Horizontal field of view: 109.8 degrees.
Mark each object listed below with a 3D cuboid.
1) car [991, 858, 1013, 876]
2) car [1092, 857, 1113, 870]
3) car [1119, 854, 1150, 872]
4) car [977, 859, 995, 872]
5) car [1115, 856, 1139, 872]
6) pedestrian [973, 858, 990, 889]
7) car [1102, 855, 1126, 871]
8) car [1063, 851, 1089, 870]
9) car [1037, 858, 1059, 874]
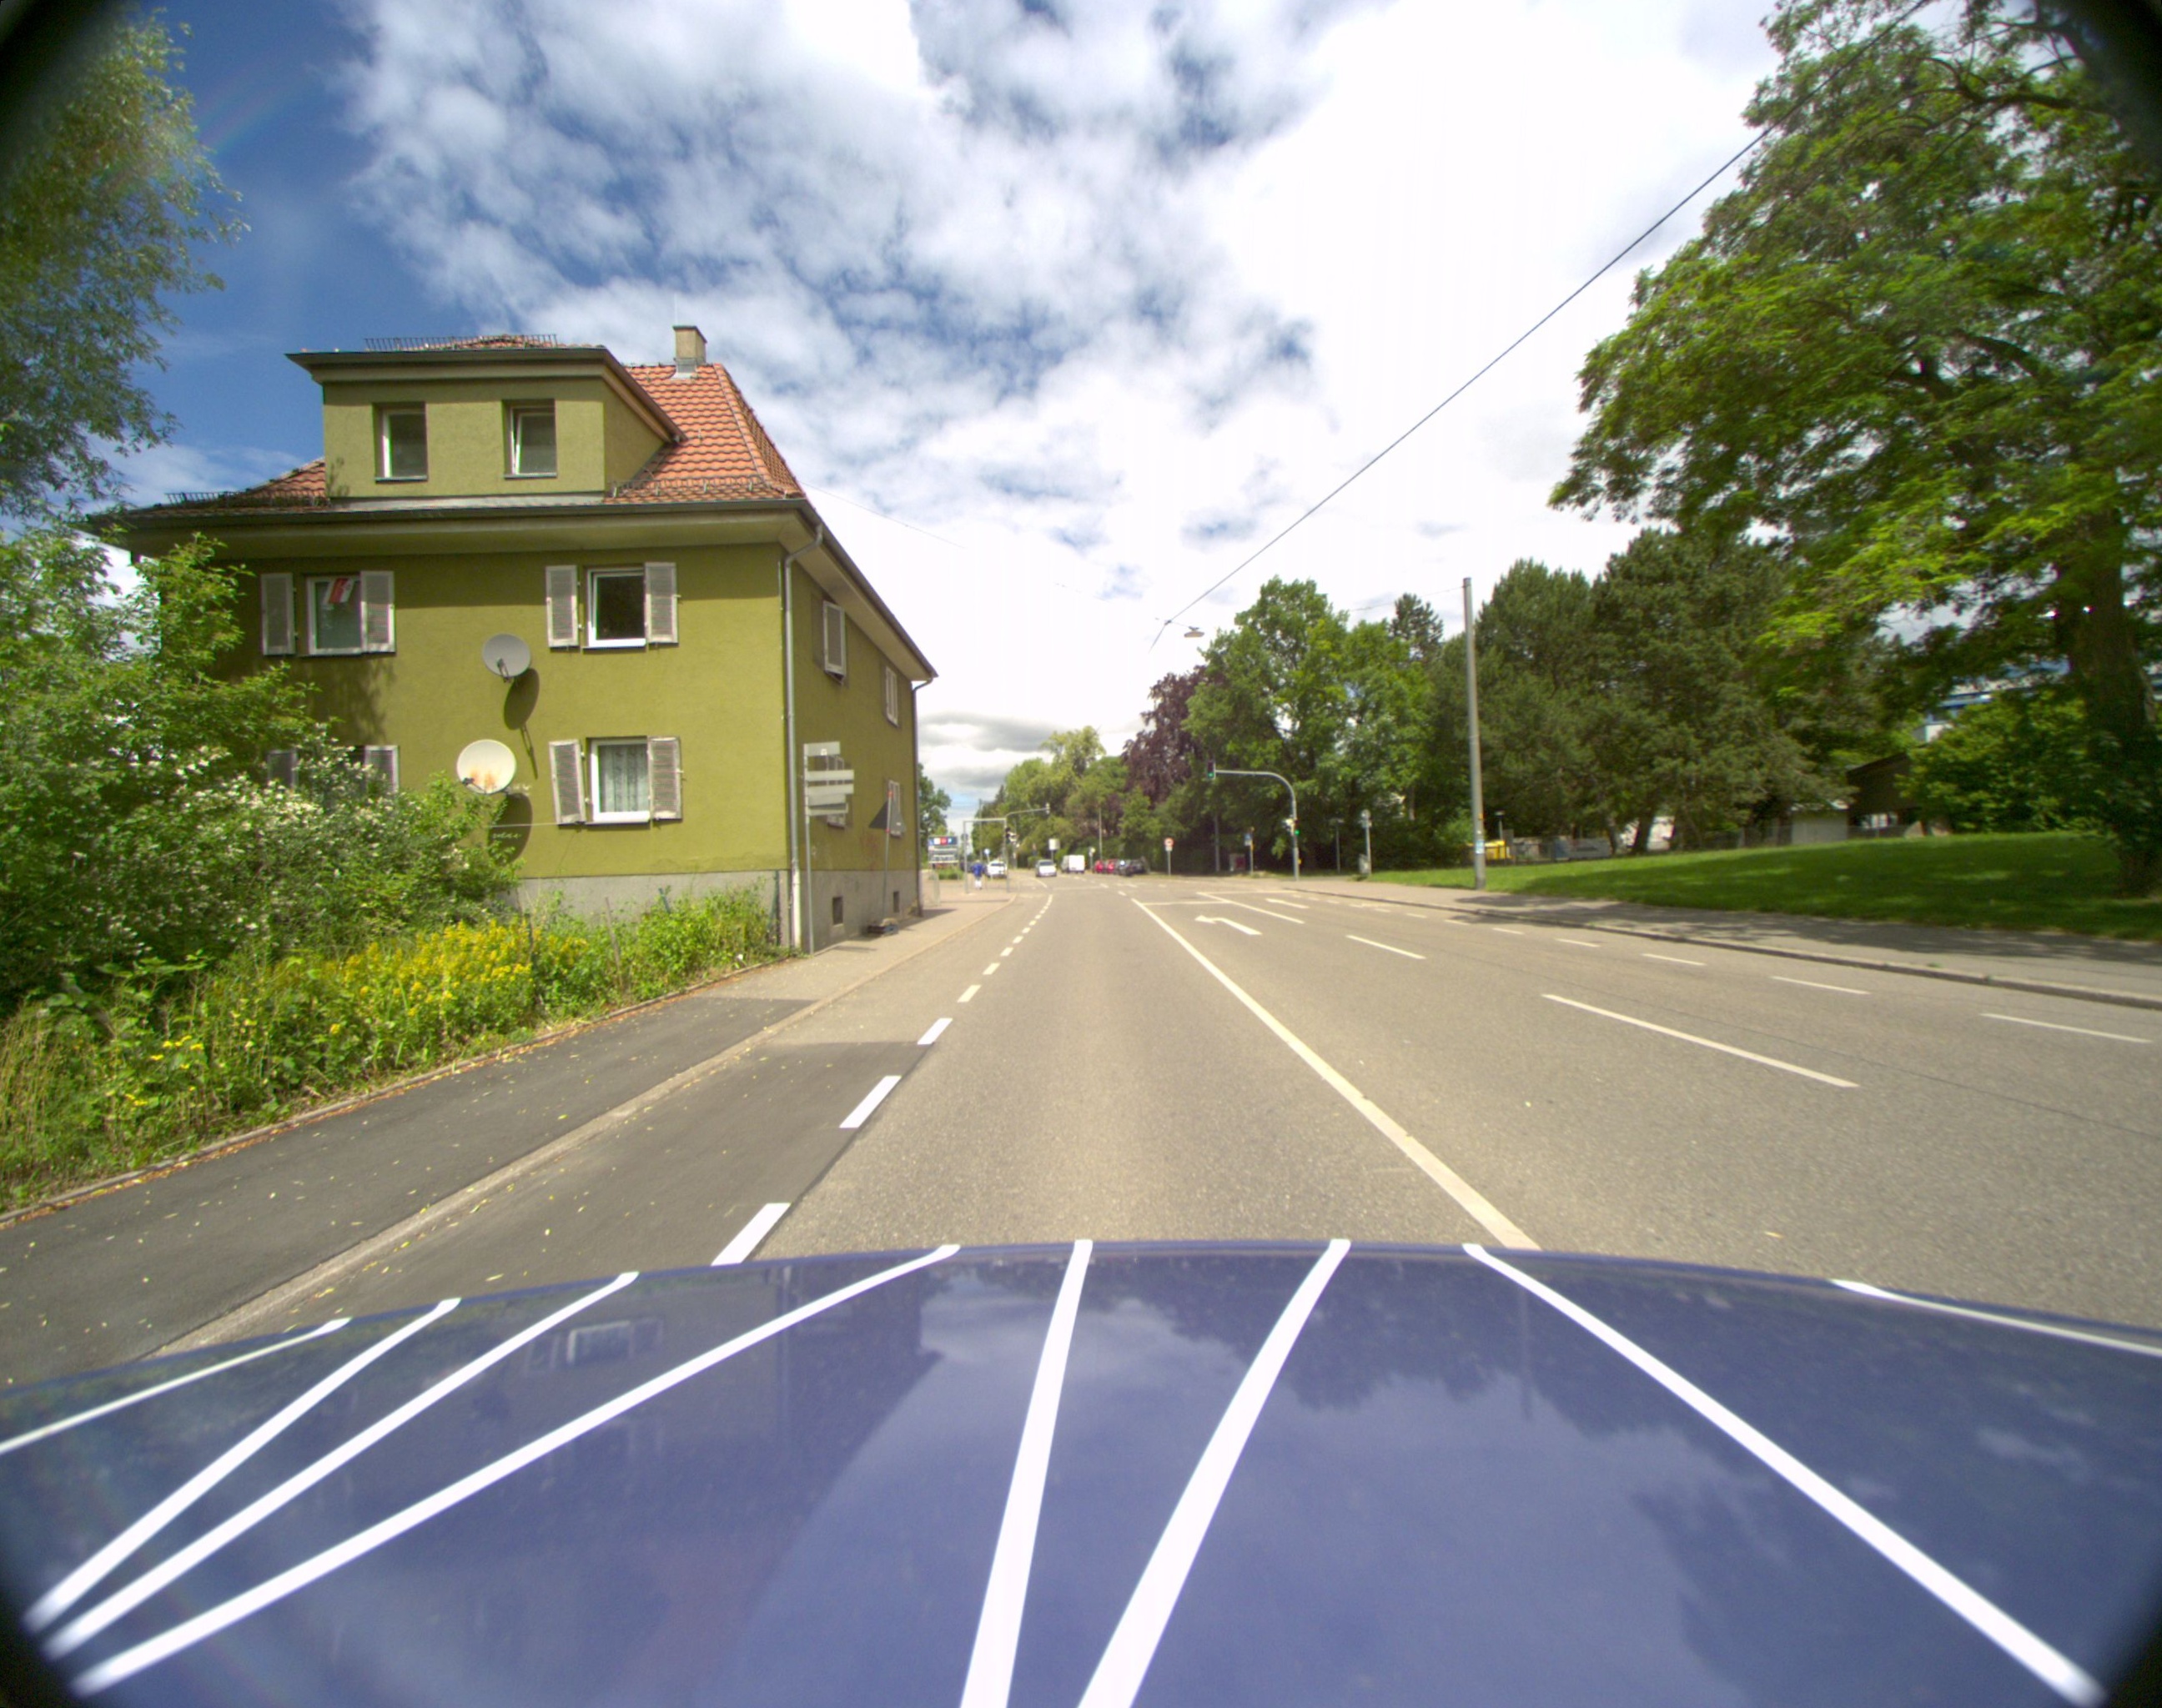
[{"bbox_3d":[-7.226,1.165,69.017,1.796,1.522,3.918,1,0,-9],"label":"car"},{"bbox_3d":[2.300,1.005,81.932,1.531,1.358,3.371,-3,1,-12],"label":"car"},{"bbox_3d":[4.738,0.783,67.898,1.688,1.407,4.398,-3,1,-9],"label":"car"},{"bbox_3d":[-12.226,1.417,97.287,1.707,1.522,3.995,-3,0,-15],"label":"car"},{"bbox_3d":[4.341,0.944,72.576,1.560,1.404,3.191,-3,1,-9],"label":"car"},{"bbox_3d":[-5.272,1.025,40.210,0.826,1.563,0.987,-1,1,-4],"label":"pedestrian"},{"bbox_3d":[3.315,0.908,76.957,1.524,1.469,3.321,-3,0,-12],"label":"car"},{"bbox_3d":[-0.575,0.698,83.228,2.000,2.011,5.347,-1,0,-10],"label":"car"},{"bbox_3d":[-3.139,1.097,71.501,1.552,1.418,3.853,-3,0,-9],"label":"car"}]
